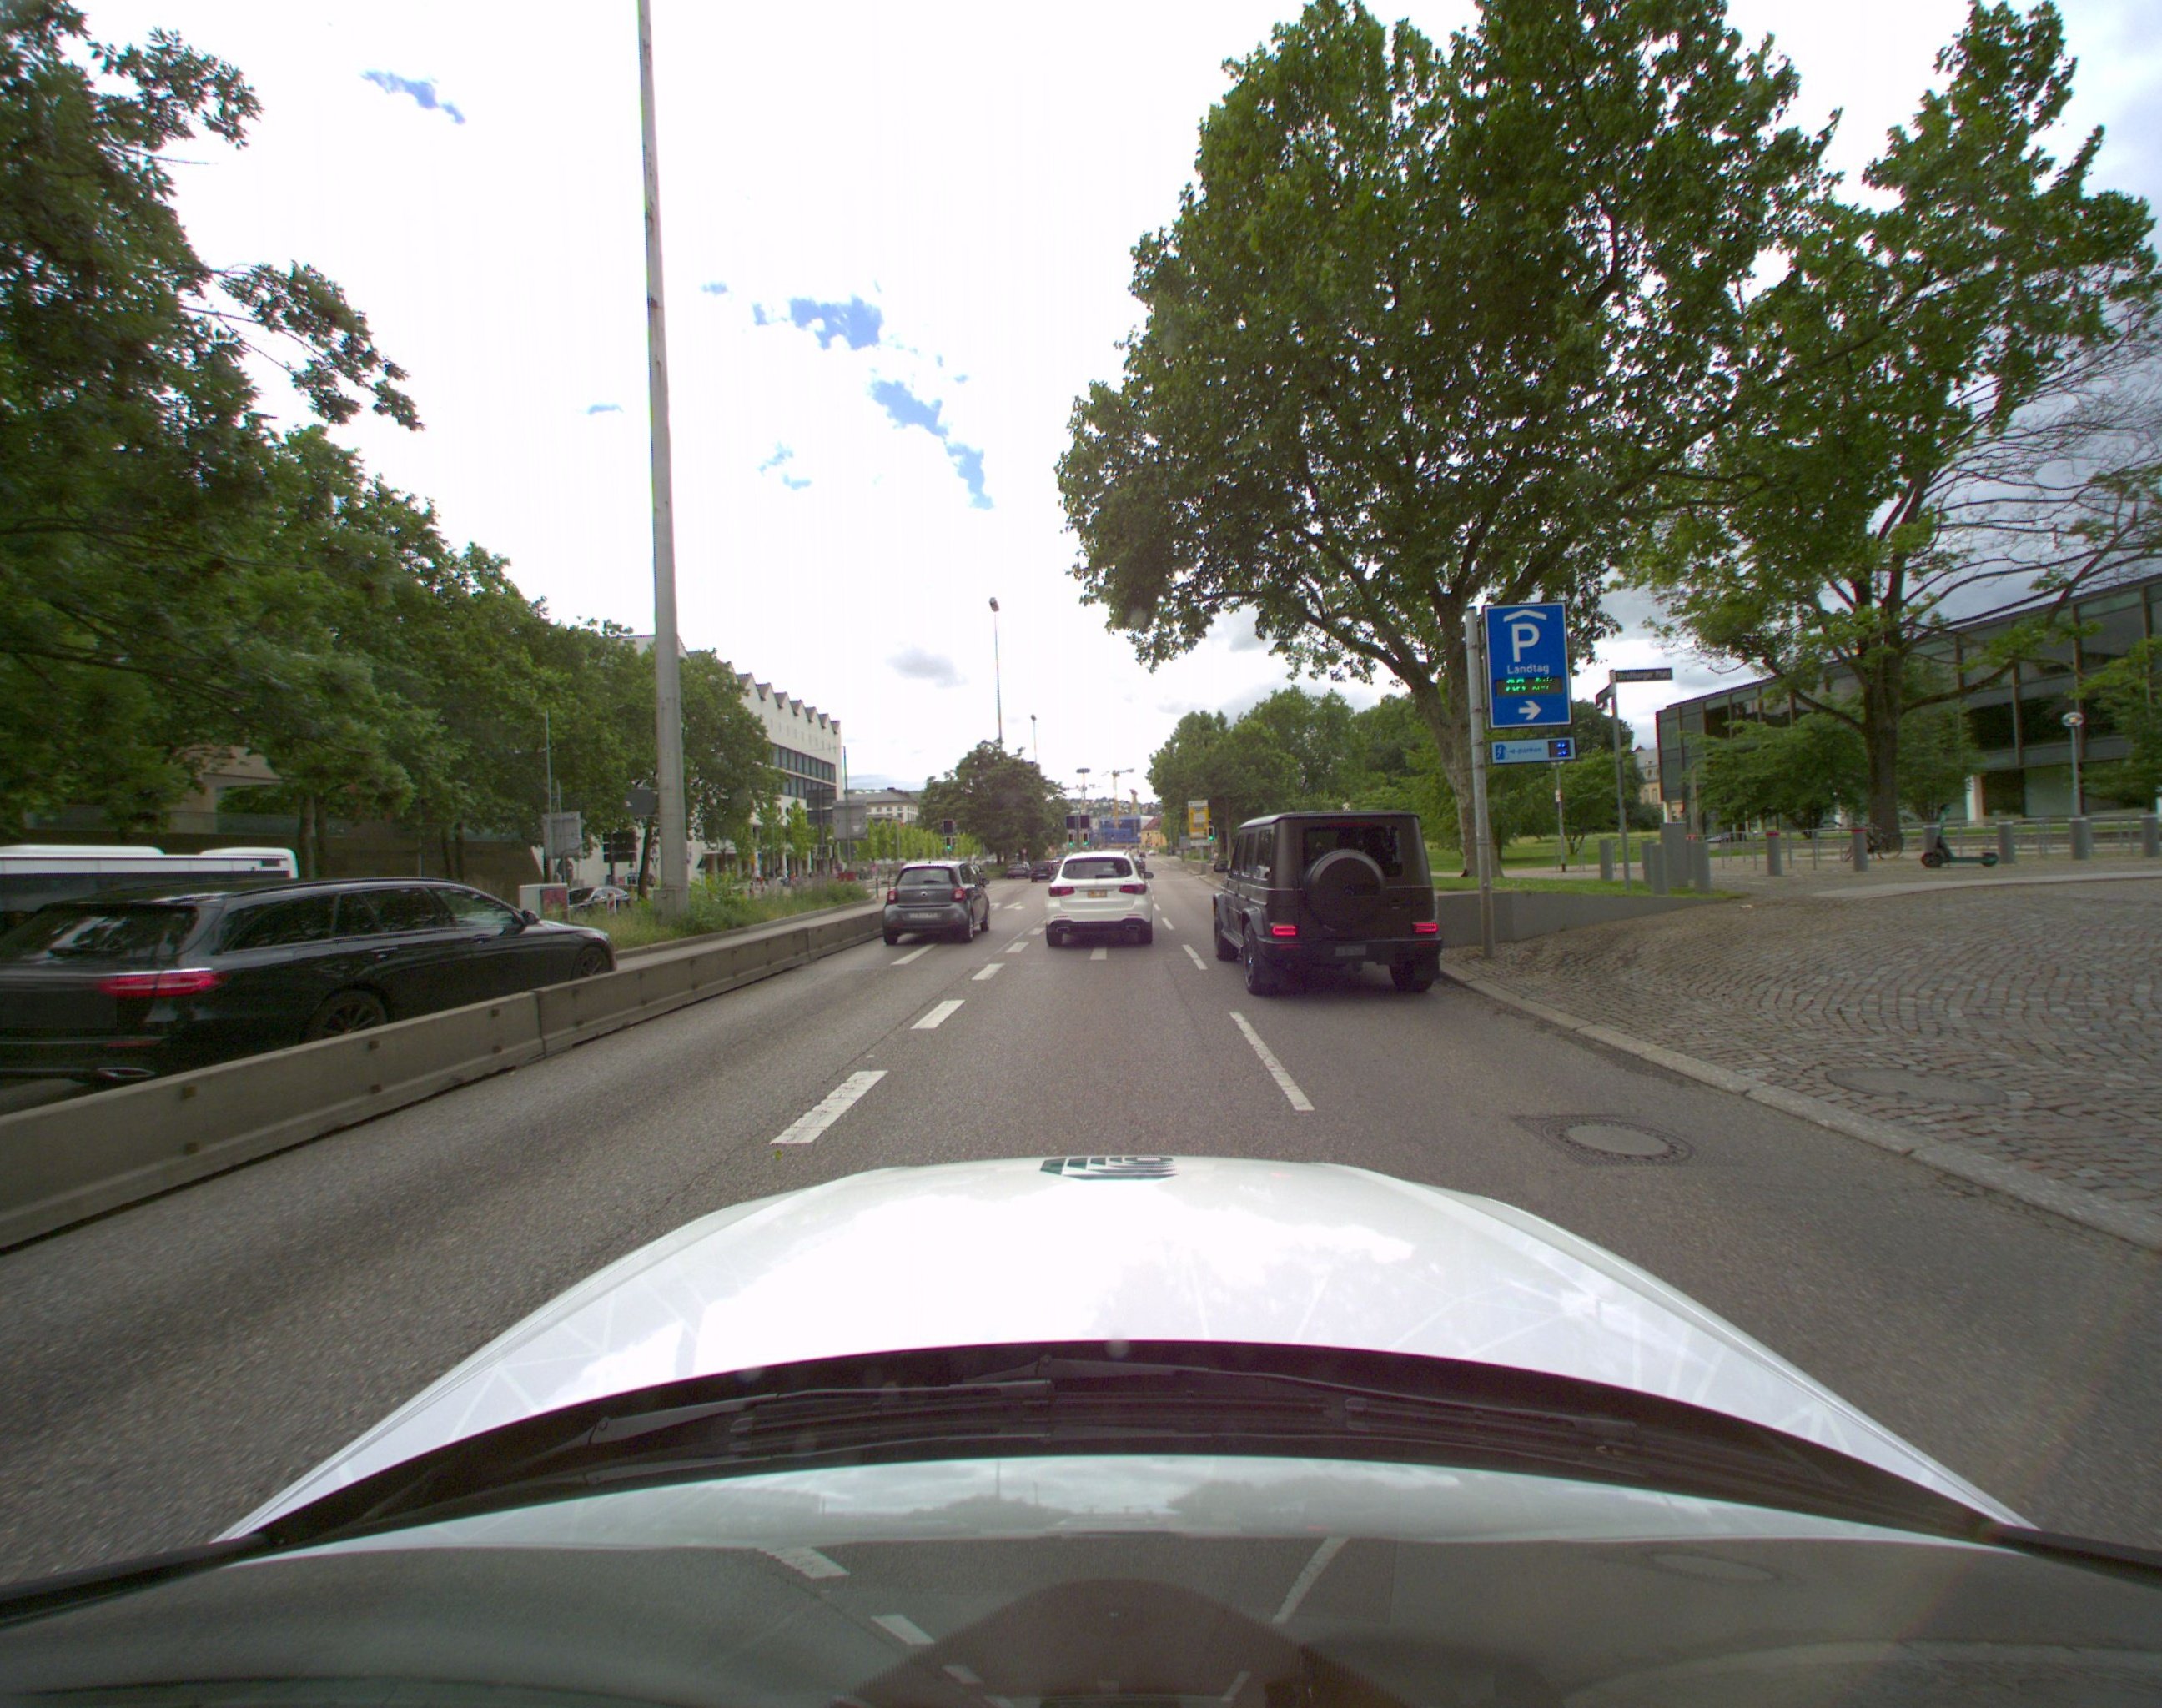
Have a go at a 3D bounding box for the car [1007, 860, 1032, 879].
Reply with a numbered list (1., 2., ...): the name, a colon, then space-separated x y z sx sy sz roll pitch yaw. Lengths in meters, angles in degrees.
1. car: -5.223 1.282 69.894 1.747 1.553 4.001 0 0 1

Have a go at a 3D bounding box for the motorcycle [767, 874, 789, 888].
1. motorcycle: -28.369 2.545 76.205 1.892 1.234 0.654 -3 -3 -23

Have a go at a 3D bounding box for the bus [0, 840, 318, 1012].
1. bus: -22.133 1.465 18.064 2.912 3.303 7.708 -3 0 1

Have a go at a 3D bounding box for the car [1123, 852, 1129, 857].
1. car: 12.662 0.124 228.871 1.713 1.585 4.000 0 0 0

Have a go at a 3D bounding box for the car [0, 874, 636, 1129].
1. car: -6.289 0.937 7.269 1.805 1.460 4.865 -1 -1 2

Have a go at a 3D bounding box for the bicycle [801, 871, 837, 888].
1. bicycle: -29.340 2.820 91.303 3.601 1.684 1.183 -3 0 0

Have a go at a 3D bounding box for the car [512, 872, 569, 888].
1. car: -49.006 2.365 73.913 3.972 1.276 1.752 -3 -1 1

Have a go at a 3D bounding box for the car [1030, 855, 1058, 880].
1. car: -2.551 0.915 56.973 1.713 1.678 4.000 0 0 0

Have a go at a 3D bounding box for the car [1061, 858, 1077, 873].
1. car: -1.309 1.211 87.096 1.714 1.585 3.998 0 0 -1

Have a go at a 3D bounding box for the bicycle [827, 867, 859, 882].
1. bicycle: -28.871 2.469 98.854 3.612 1.684 1.179 -3 0 -9

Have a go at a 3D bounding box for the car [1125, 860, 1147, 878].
1. car: 5.085 1.391 75.663 1.713 1.585 4.000 0 0 0

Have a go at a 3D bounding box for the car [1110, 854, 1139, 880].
1. car: 2.782 0.822 52.926 1.713 1.585 4.000 0 0 0

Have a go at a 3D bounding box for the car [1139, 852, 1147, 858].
1. car: 15.001 0.287 197.012 1.713 1.585 4.000 0 0 0

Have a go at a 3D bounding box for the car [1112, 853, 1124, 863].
1. car: 6.419 0.693 140.217 1.985 1.757 4.003 0 -1 3

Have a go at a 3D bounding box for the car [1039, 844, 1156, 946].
1. car: 0.331 0.709 15.487 1.933 1.684 4.001 0 -1 1

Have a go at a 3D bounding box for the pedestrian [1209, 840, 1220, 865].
1. pedestrian: 9.118 -0.082 55.612 0.695 1.656 0.684 0 -1 1

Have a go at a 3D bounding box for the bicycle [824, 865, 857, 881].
1. bicycle: -28.585 2.282 96.894 3.612 1.684 1.179 -3 0 -9

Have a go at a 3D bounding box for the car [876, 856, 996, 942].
1. car: -2.789 0.840 16.372 1.621 1.509 3.541 -1 -1 2

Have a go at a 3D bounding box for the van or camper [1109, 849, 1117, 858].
1. van or camper: 8.427 -0.057 215.222 1.915 2.320 4.001 -2 -2 2

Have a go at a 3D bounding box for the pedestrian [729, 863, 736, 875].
1. pedestrian: -38.198 1.662 89.244 0.517 1.327 0.565 -4 -2 2

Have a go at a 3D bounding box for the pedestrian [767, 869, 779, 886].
1. pedestrian: -29.756 2.271 78.740 0.887 1.557 0.591 -2 -1 -41

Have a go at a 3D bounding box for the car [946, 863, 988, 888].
1. car: -6.306 1.192 45.370 1.713 1.292 4.000 0 0 0

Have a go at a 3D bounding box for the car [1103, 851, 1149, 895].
1. car: 1.754 0.737 31.929 1.665 1.628 4.002 0 -1 3

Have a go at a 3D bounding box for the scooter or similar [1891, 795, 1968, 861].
1. scooter or similar: 16.906 -0.502 16.245 0.713 1.247 0.728 -3 -1 0

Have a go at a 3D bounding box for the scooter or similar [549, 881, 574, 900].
1. scooter or similar: -37.977 2.663 59.510 1.409 1.340 0.538 -3 -1 2

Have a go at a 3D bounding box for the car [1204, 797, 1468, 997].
1. car: 2.778 0.452 10.104 1.970 1.893 4.709 0 -1 2

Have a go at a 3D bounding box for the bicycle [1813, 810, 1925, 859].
1. bicycle: 20.826 -0.504 21.552 2.183 1.141 0.686 -3 0 2

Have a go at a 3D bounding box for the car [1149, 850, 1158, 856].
1. car: 19.656 -0.352 222.112 1.989 1.618 3.996 0 -1 -3
